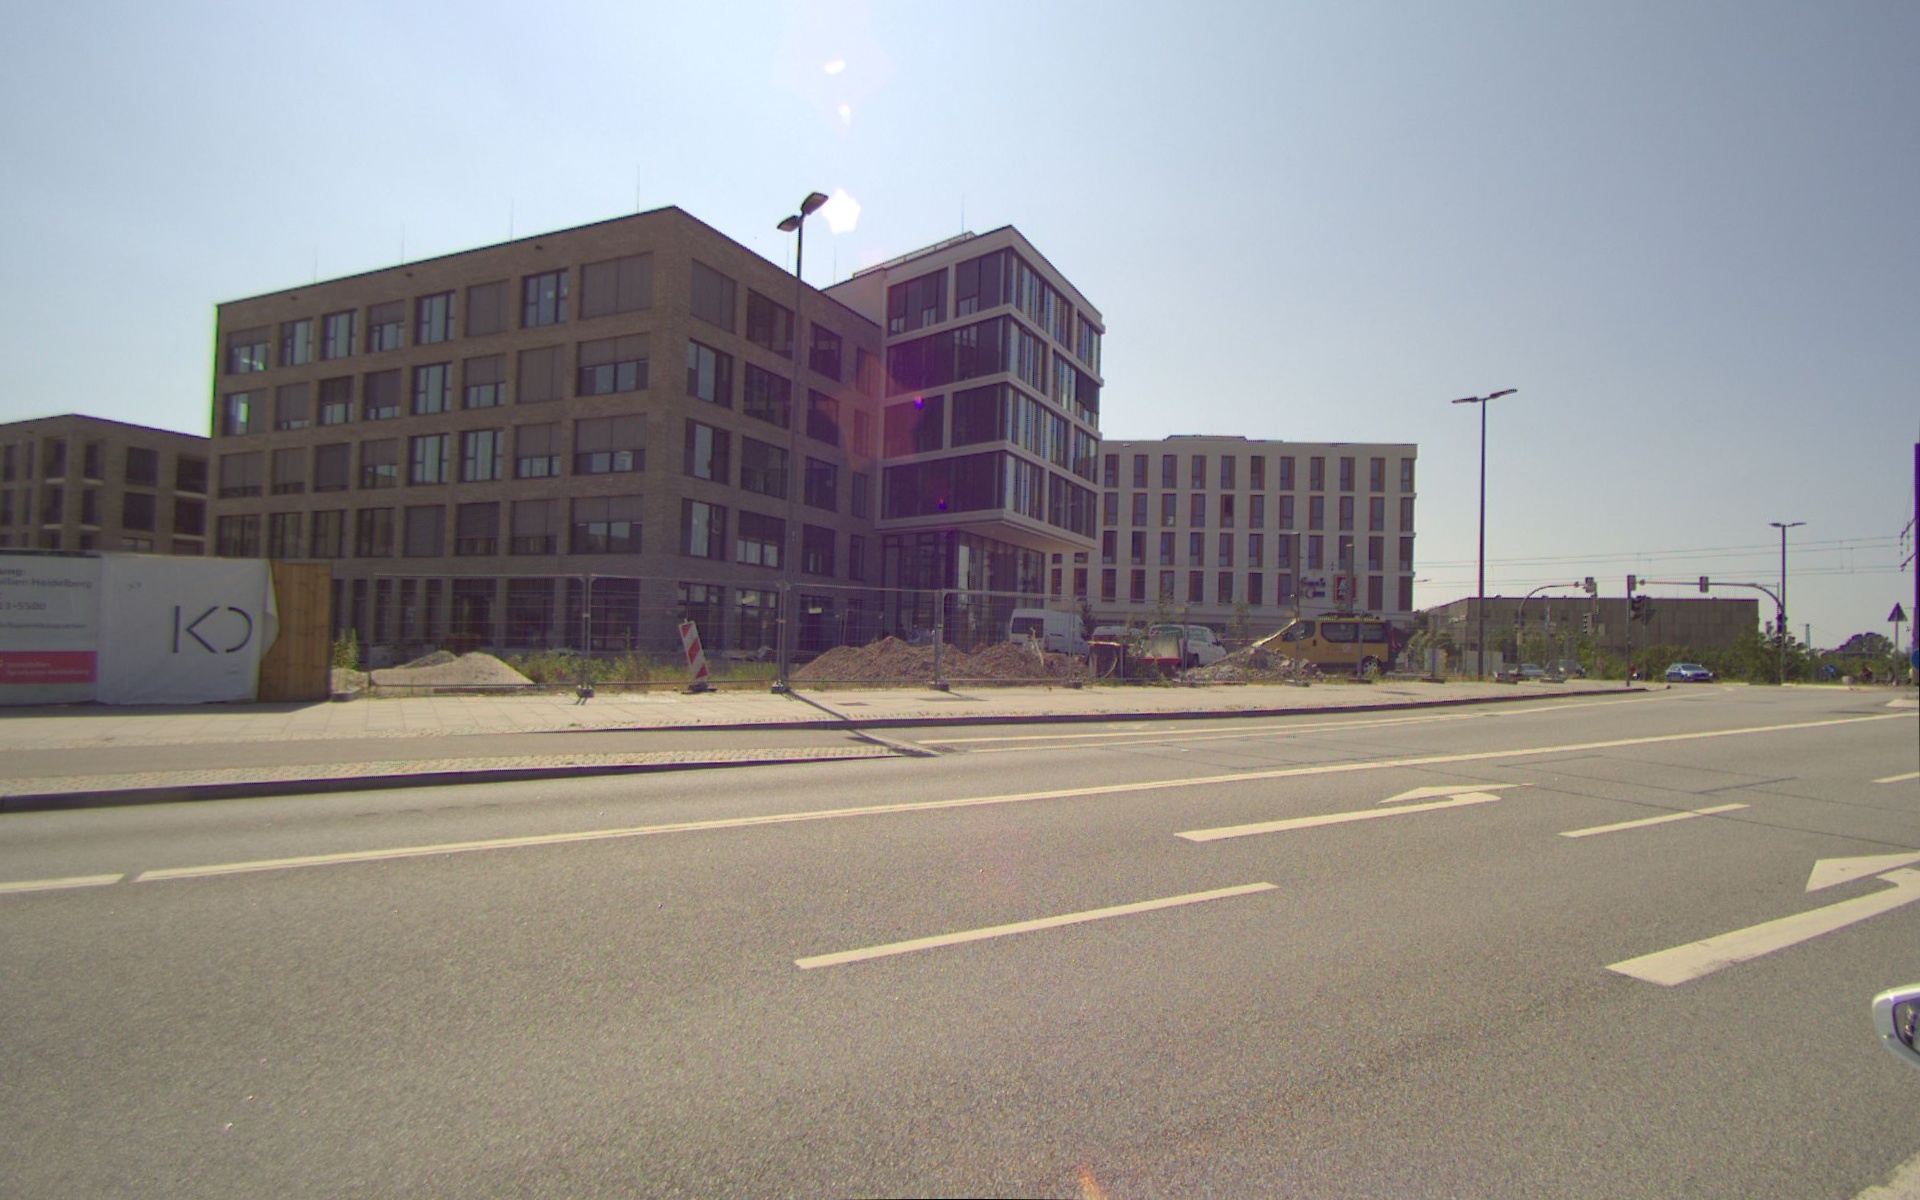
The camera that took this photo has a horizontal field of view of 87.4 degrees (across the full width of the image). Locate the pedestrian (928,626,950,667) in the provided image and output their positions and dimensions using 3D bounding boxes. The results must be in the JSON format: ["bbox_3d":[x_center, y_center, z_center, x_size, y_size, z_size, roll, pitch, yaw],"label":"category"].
[{"bbox_3d":[-0.934,2.029,43.935,0.734,1.741,0.699,2,0,16],"label":"pedestrian"}]

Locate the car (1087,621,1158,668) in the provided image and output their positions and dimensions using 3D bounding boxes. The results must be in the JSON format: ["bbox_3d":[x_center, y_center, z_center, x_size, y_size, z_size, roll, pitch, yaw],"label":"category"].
[{"bbox_3d":[7.094,1.886,43.550,1.759,1.881,3.844,2,-1,30],"label":"car"}]

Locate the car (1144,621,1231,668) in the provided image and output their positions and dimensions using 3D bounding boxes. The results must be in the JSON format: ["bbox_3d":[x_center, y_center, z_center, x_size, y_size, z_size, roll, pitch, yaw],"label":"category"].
[{"bbox_3d":[9.583,1.848,42.108,1.841,1.797,4.638,2,-1,36],"label":"car"}]

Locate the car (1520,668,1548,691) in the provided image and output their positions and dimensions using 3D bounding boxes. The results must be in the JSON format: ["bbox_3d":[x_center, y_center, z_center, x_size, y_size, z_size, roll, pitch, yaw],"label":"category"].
[{"bbox_3d":[46.357,6.432,81.190,1.541,1.608,3.478,2,-1,23],"label":"car"}]

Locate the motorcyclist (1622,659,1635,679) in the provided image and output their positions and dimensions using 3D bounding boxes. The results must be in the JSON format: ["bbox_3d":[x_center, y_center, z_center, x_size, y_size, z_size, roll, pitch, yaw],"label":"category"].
[{"bbox_3d":[53.692,5.547,80.643,0.739,1.514,0.677,2,0,23],"label":"motorcyclist"}]

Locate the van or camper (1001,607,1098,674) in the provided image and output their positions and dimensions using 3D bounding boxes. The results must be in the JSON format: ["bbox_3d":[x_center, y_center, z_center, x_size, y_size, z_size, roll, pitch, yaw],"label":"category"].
[{"bbox_3d":[4.095,1.780,45.087,2.273,2.772,4.976,2,-1,32],"label":"van or camper"}]

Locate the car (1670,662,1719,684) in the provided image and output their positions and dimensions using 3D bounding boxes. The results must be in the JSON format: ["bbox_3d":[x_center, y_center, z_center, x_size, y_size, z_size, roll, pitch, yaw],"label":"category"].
[{"bbox_3d":[52.384,5.183,71.733,1.787,1.348,4.001,2,-2,21],"label":"car"}]

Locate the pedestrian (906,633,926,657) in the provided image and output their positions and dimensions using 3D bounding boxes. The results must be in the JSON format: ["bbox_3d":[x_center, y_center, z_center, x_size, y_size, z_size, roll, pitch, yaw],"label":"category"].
[{"bbox_3d":[-2.059,2.117,47.298,0.734,1.041,0.699,2,0,16],"label":"pedestrian"}]

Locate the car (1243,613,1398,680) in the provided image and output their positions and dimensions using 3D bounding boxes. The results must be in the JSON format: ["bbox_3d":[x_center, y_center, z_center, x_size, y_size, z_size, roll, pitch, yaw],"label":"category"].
[{"bbox_3d":[12.004,1.523,33.715,4.533,1.988,1.991,2,0,9],"label":"car"}]

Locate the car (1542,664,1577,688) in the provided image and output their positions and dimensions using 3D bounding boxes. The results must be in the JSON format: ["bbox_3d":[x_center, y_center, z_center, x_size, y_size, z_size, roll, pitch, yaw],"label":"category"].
[{"bbox_3d":[43.703,5.522,73.297,1.646,1.496,3.405,0,-1,22],"label":"car"}]

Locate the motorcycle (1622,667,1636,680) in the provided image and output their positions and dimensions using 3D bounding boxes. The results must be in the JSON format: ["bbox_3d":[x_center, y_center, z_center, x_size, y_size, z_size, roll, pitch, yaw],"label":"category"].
[{"bbox_3d":[53.626,5.895,80.508,0.511,0.967,1.933,2,-1,23],"label":"motorcycle"}]

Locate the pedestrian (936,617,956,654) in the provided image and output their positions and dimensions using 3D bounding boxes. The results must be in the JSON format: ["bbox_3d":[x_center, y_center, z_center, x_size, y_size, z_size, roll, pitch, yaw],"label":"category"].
[{"bbox_3d":[-0.677,1.721,48.885,0.734,1.741,0.699,2,0,16],"label":"pedestrian"}]
